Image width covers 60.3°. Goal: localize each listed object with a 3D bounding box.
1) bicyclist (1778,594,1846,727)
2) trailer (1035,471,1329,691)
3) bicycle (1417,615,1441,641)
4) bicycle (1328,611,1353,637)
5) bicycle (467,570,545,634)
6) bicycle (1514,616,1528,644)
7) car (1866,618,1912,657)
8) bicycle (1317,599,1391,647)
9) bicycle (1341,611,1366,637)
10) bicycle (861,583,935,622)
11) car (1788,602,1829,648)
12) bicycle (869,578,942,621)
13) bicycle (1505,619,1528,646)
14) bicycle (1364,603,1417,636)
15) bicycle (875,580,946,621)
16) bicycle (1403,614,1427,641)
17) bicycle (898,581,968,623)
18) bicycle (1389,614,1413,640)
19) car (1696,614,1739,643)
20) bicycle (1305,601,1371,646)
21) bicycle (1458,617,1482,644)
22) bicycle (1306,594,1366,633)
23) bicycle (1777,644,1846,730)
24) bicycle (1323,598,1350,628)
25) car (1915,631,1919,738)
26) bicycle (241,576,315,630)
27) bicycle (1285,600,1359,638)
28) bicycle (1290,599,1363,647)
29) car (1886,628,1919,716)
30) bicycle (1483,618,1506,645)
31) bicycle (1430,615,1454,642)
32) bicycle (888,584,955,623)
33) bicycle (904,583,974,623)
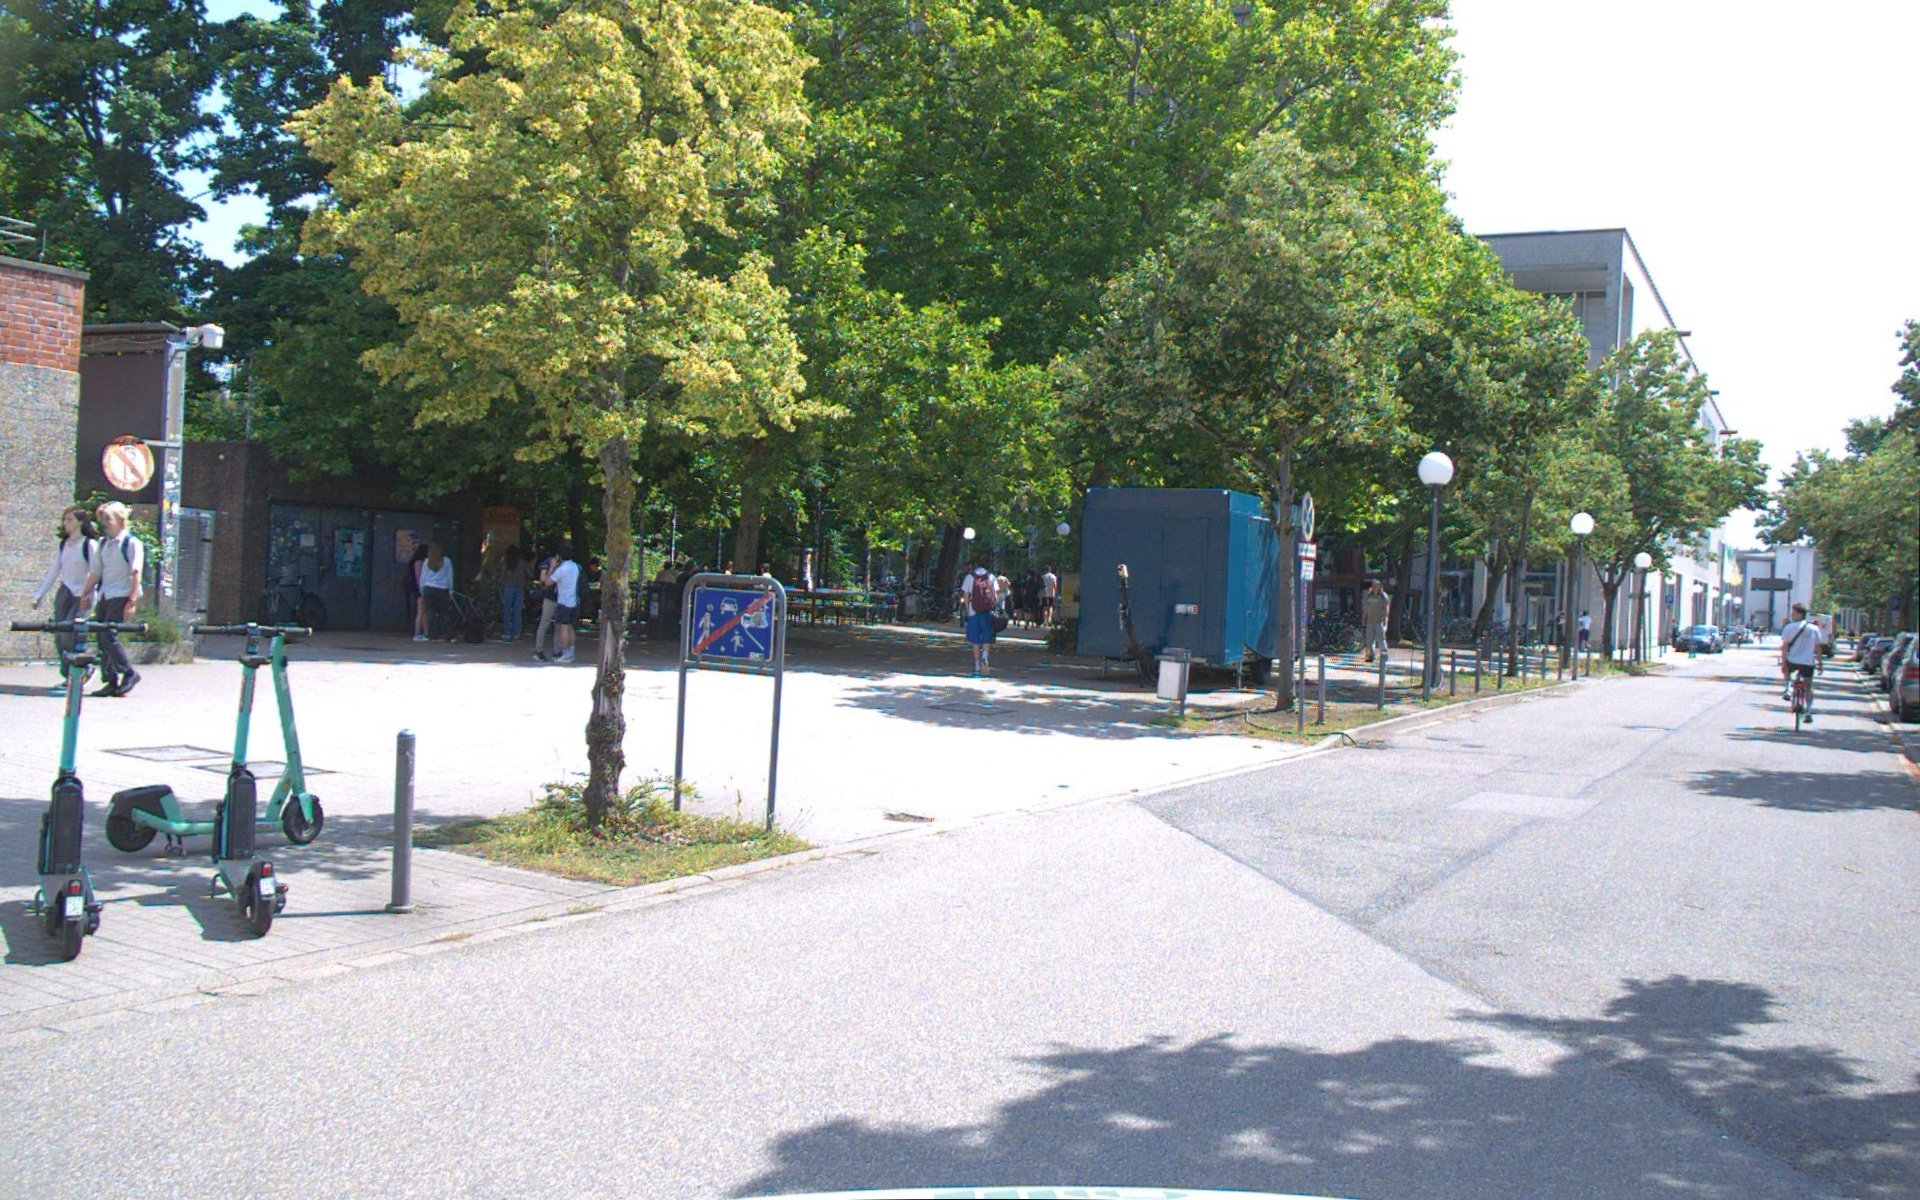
[{"bbox_3d":[13.653,0.954,26.514,0.856,2.048,0.849,3,0,27],"label":"bicyclist"},{"bbox_3d":[3.829,-0.284,27.126,2.646,3.078,6.257,4,1,28],"label":"trailer"},{"bbox_3d":[20.466,1.224,72.188,0.541,1.105,1.970,5,1,28],"label":"bicycle"},{"bbox_3d":[17.033,1.066,74.079,0.541,1.105,1.970,5,1,28],"label":"bicycle"},{"bbox_3d":[-8.396,0.042,30.638,1.323,1.095,0.415,4,-2,-16],"label":"bicycle"},{"bbox_3d":[21.787,1.159,64.202,0.373,1.043,1.816,3,1,16],"label":"bicycle"},{"bbox_3d":[40.037,1.604,71.347,1.586,1.565,3.774,3,1,28],"label":"car"},{"bbox_3d":[11.688,0.679,49.164,2.011,1.255,0.809,5,1,11],"label":"bicycle"},{"bbox_3d":[17.571,1.091,73.812,0.541,1.105,1.970,5,1,28],"label":"bicycle"},{"bbox_3d":[-1.753,0.069,46.656,1.966,1.025,0.585,3,0,20],"label":"bicycle"},{"bbox_3d":[51.080,1.495,99.538,2.044,2.583,4.309,4,1,28],"label":"car"},{"bbox_3d":[-1.568,-0.012,47.627,1.966,1.138,0.585,2,0,20],"label":"bicycle"},{"bbox_3d":[23.669,1.369,70.319,0.541,1.105,1.970,5,1,28],"label":"bicycle"},{"bbox_3d":[17.520,0.787,67.361,1.974,1.275,0.587,2,0,-4],"label":"bicycle"},{"bbox_3d":[-1.453,0.013,48.466,1.966,1.138,0.585,2,0,20],"label":"bicycle"},{"bbox_3d":[19.931,1.199,72.452,0.541,1.105,1.970,5,1,28],"label":"bicycle"},{"bbox_3d":[-0.808,0.060,49.048,1.966,1.138,0.585,2,0,20],"label":"bicycle"},{"bbox_3d":[19.430,1.179,72.874,0.541,1.105,1.970,5,1,28],"label":"bicycle"},{"bbox_3d":[41.530,1.579,90.678,1.734,1.452,4.226,3,0,30],"label":"car"},{"bbox_3d":[10.710,0.664,46.913,1.735,1.151,0.459,3,1,11],"label":"bicycle"},{"bbox_3d":[22.125,1.310,71.732,0.541,1.105,1.970,5,1,28],"label":"bicycle"},{"bbox_3d":[15.262,0.555,67.196,2.238,1.475,0.606,3,0,-5],"label":"bicycle"},{"bbox_3d":[13.632,1.358,26.528,0.865,1.220,2.747,3,1,26],"label":"bicycle"},{"bbox_3d":[16.782,0.589,73.692,0.515,1.274,2.377,2,0,29],"label":"bicycle"},{"bbox_3d":[13.705,1.210,21.707,1.692,1.493,4.667,2,0,26],"label":"car"},{"bbox_3d":[-11.806,0.057,28.646,0.298,0.899,1.229,3,0,30],"label":"bicycle"},{"bbox_3d":[11.144,0.586,50.955,2.104,1.026,0.678,3,1,-2],"label":"bicycle"},{"bbox_3d":[10.731,0.665,48.465,2.010,1.256,0.809,4,1,11],"label":"bicycle"},{"bbox_3d":[18.983,1.367,31.932,1.671,1.601,4.136,1,0,26],"label":"car"},{"bbox_3d":[22.943,1.340,70.941,0.541,1.105,1.970,5,1,28],"label":"bicycle"},{"bbox_3d":[20.982,1.249,71.978,0.541,1.105,1.970,5,1,28],"label":"bicycle"},{"bbox_3d":[-1.195,0.101,51.695,1.966,1.138,0.585,2,0,20],"label":"bicycle"},{"bbox_3d":[-0.632,0.085,49.808,1.966,1.138,0.585,2,0,20],"label":"bicycle"}]
